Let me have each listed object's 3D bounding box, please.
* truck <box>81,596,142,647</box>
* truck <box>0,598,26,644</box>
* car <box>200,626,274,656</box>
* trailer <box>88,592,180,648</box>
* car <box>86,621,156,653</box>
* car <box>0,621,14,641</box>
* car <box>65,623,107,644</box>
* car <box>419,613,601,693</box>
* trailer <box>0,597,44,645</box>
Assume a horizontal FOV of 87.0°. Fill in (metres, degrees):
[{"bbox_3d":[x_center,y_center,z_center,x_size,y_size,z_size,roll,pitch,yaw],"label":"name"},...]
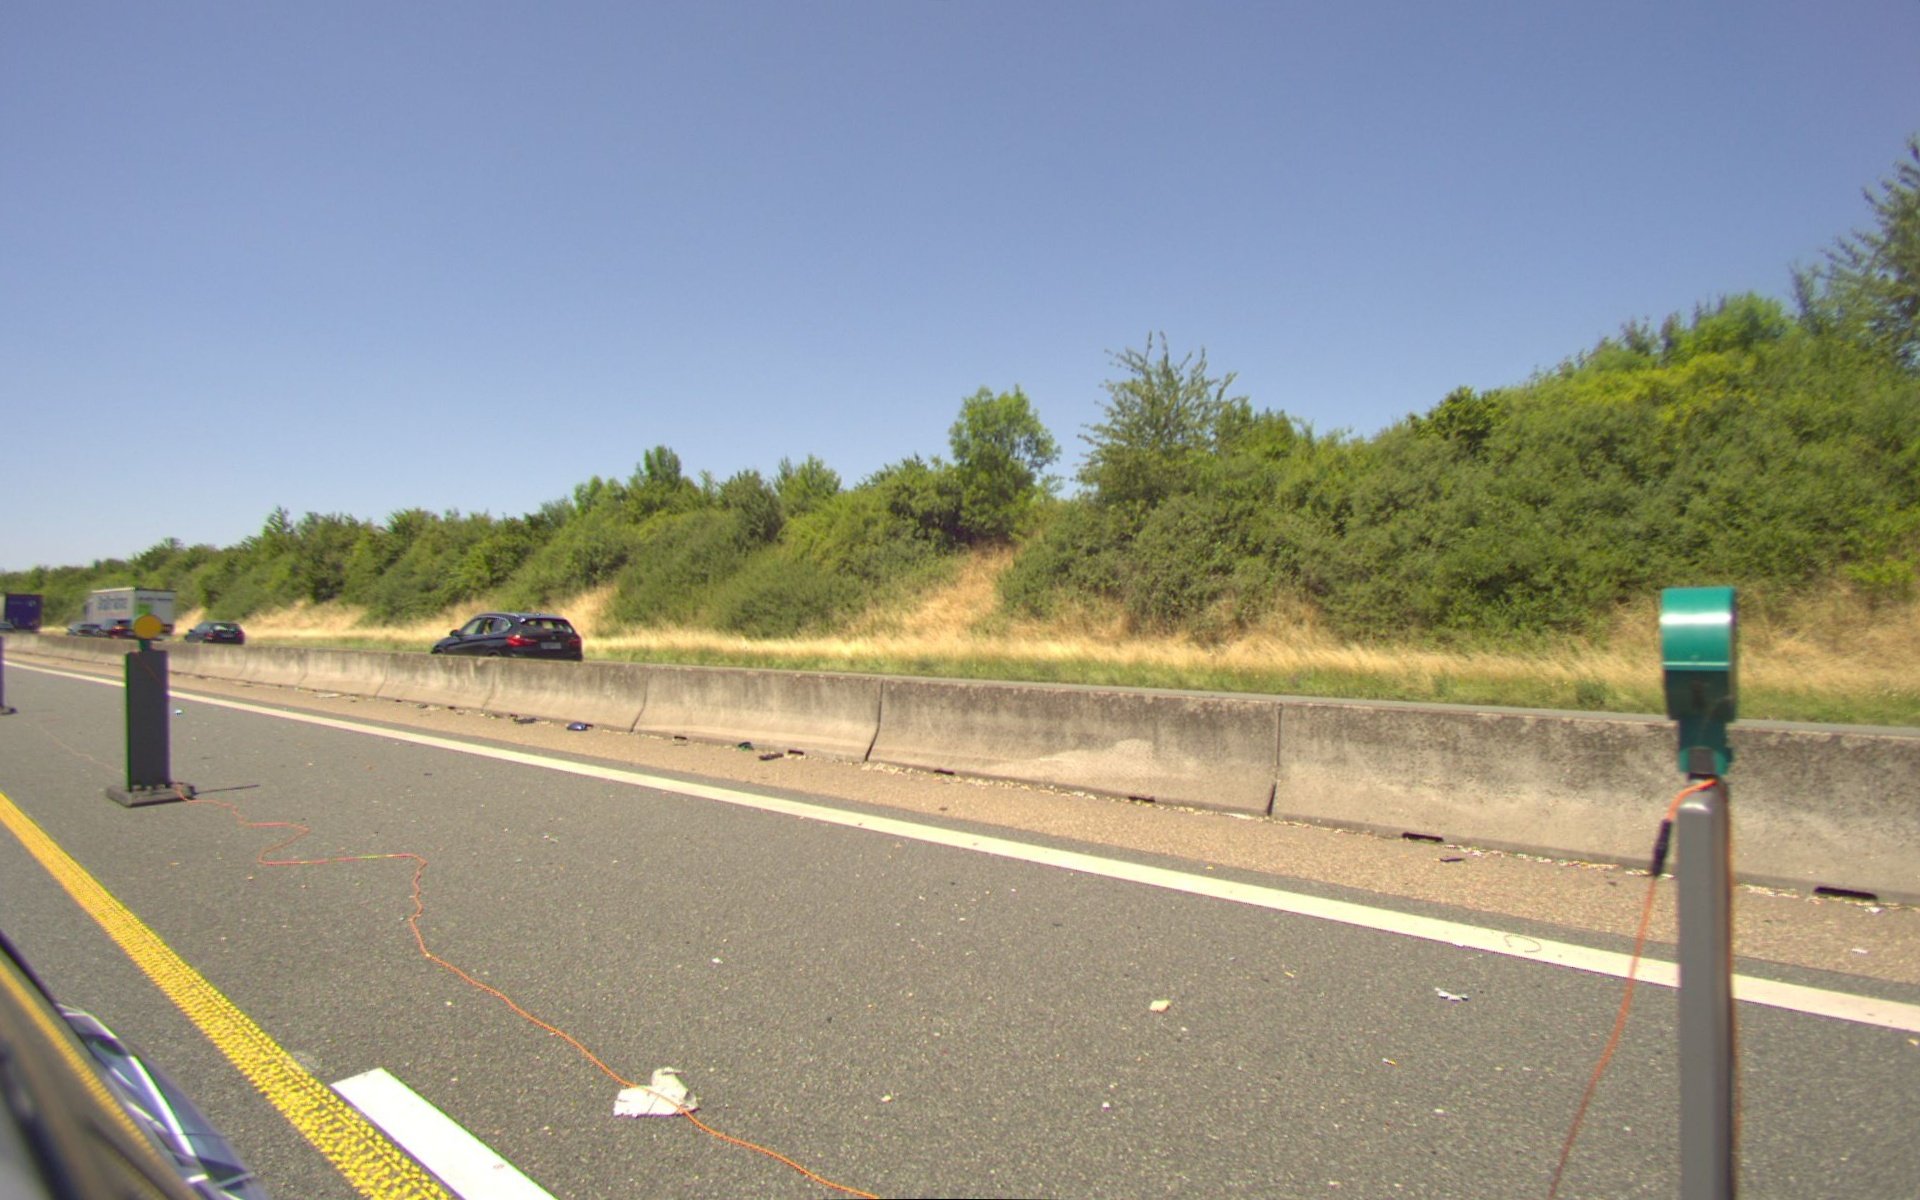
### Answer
[{"bbox_3d":[-70.954,1.842,84.601,5.191,4.108,2.916,-1,-3,40],"label":"truck"},{"bbox_3d":[-92.407,2.051,97.129,7.408,4.257,3.132,-2,-2,40],"label":"truck"},{"bbox_3d":[-36.924,2.076,51.631,4.582,1.471,1.973,-1,-2,40],"label":"car"},{"bbox_3d":[-65.407,1.682,79.959,13.626,4.093,2.923,-1,-4,40],"label":"trailer"},{"bbox_3d":[-40.330,1.765,48.606,4.485,1.471,1.830,-1,-2,40],"label":"car"},{"bbox_3d":[-70.520,2.258,73.905,3.986,1.453,1.600,-1,-2,40],"label":"car"},{"bbox_3d":[-62.312,2.384,72.113,4.084,1.407,1.489,-1,-2,38],"label":"car"},{"bbox_3d":[-10.172,1.138,22.717,4.580,1.612,1.973,-1,-2,41],"label":"car"},{"bbox_3d":[-87.904,1.966,93.338,13.671,4.212,3.128,-1,-2,40],"label":"trailer"}]
